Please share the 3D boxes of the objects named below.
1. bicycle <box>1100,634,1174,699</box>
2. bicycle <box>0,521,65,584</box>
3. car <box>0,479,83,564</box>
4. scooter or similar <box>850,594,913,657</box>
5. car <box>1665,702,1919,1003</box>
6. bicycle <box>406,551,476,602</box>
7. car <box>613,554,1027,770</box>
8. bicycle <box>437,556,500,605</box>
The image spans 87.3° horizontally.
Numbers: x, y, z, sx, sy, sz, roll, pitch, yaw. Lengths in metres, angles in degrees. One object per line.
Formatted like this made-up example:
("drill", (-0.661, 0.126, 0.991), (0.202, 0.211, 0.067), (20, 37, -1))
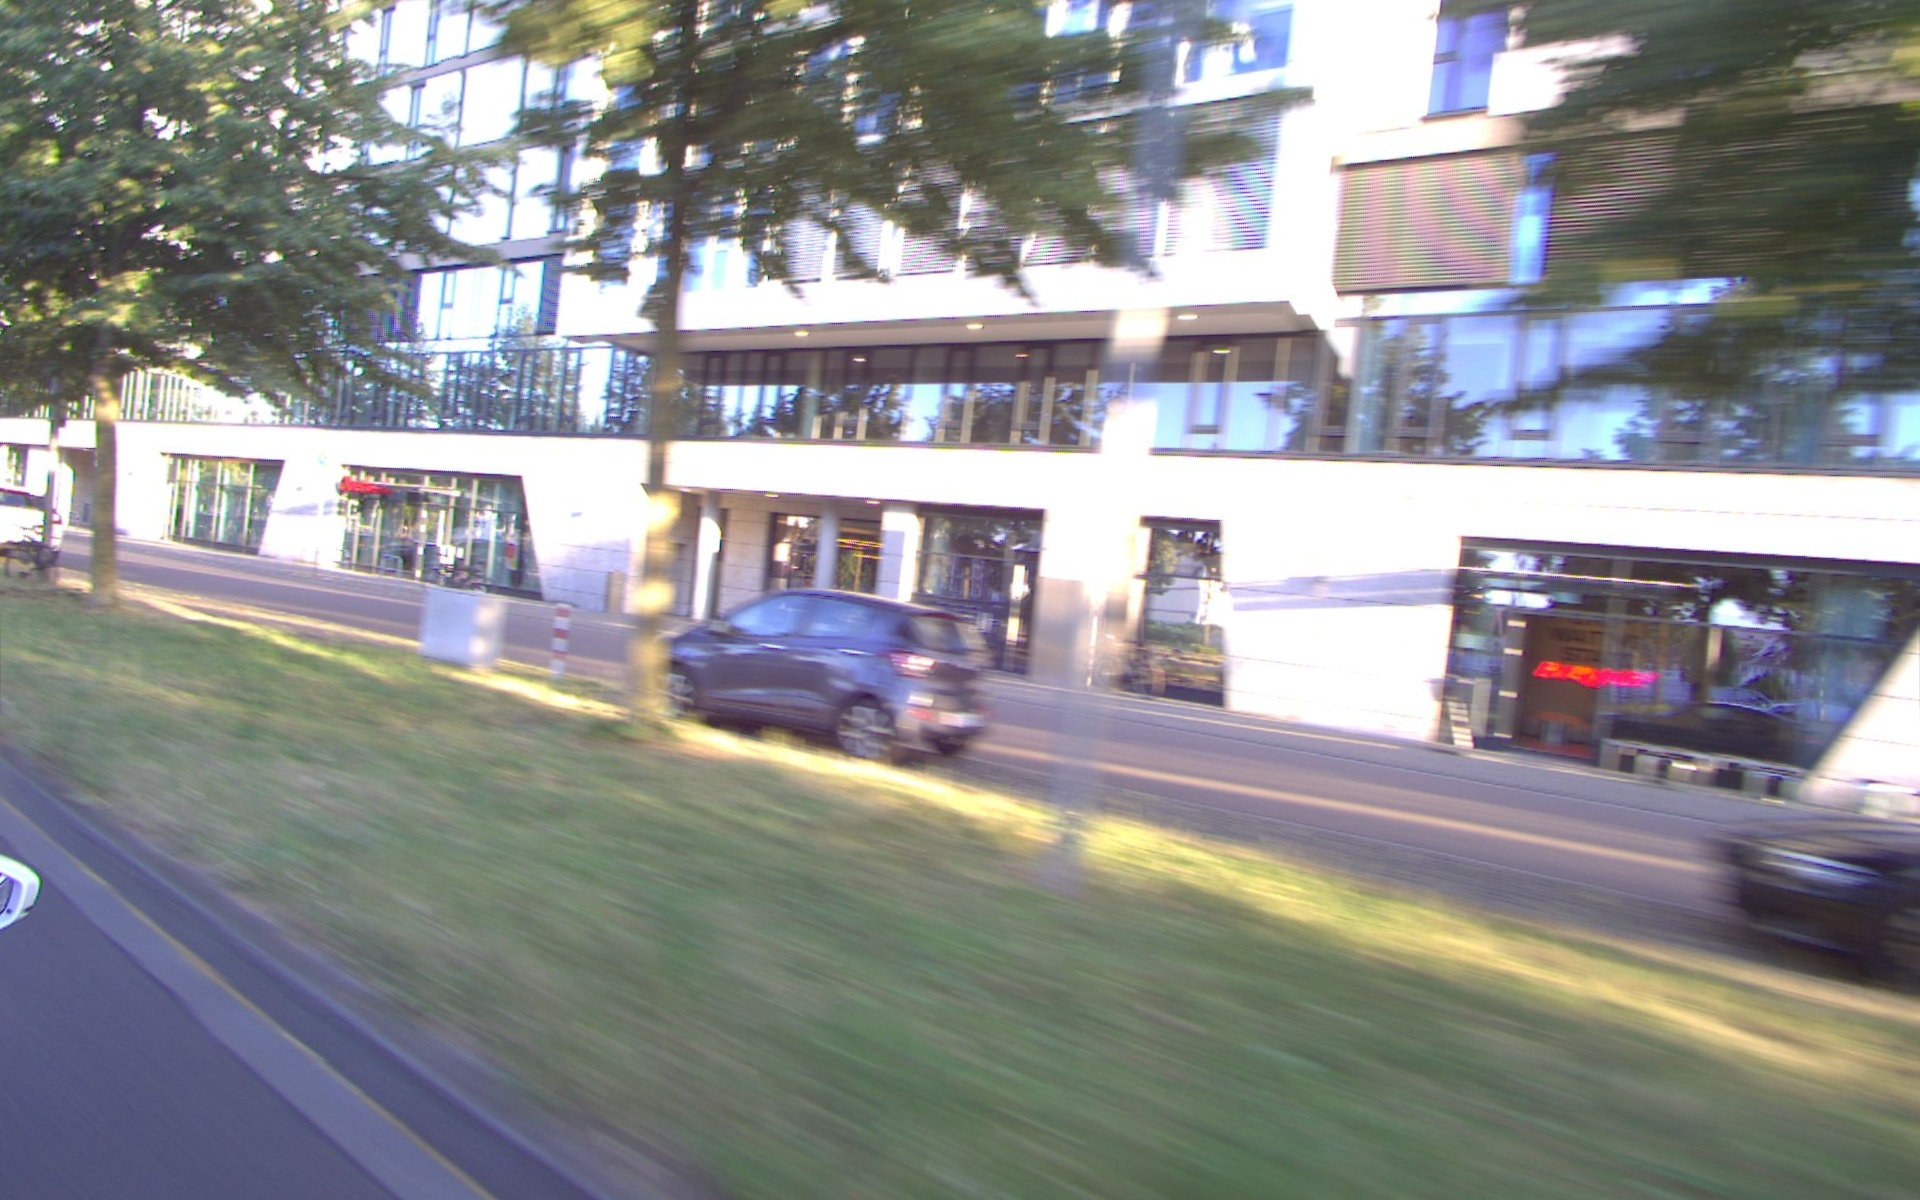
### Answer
("bicycle", (3.287, 1.226, 18.797), (0.450, 1.040, 1.381), (6, 1, -33))
("bicycle", (-14.187, -0.734, 15.352), (1.526, 0.834, 0.315), (7, 1, 32))
("car", (-22.051, -1.915, 22.695), (4.797, 1.663, 1.996), (7, 0, 31))
("scooter or similar", (-1.711, 0.549, 21.830), (1.208, 1.227, 0.473), (7, 1, 32))
("car", (6.794, 1.608, 5.279), (4.751, 1.384, 1.855), (7, 0, 29))
("bicycle", (-12.921, -0.586, 25.024), (1.861, 1.052, 0.595), (7, 1, 32))
("car", (-1.443, 0.566, 10.103), (3.695, 1.533, 1.714), (7, -2, 30))
("bicycle", (-12.410, -0.506, 25.375), (1.777, 1.052, 0.471), (7, 1, 32))
